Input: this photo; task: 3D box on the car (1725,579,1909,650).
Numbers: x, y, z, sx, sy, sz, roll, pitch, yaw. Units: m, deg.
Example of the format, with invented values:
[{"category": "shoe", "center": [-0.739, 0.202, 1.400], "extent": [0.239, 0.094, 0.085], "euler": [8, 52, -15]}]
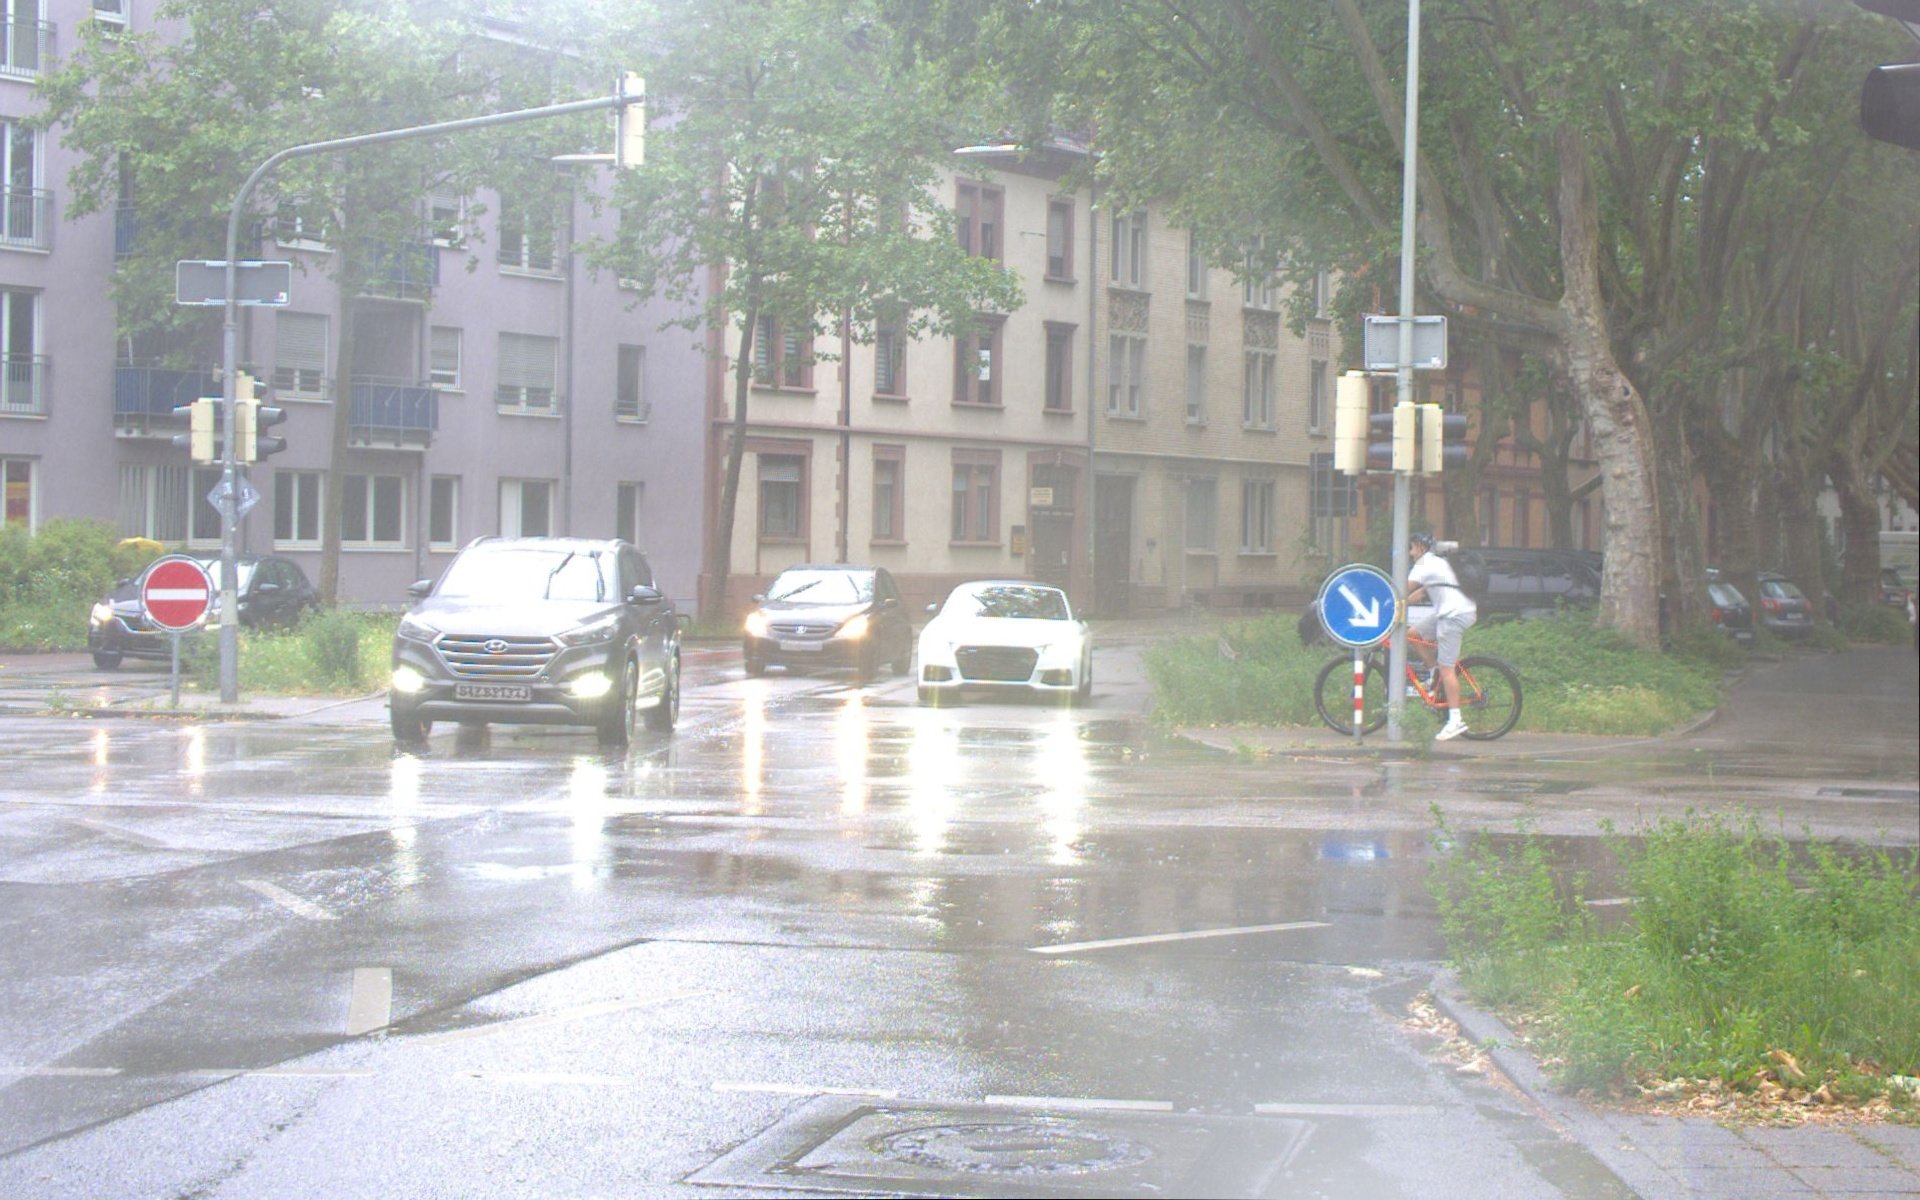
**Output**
[{"category": "car", "center": [19.568, 0.308, 78.656], "extent": [3.989, 1.542, 1.999], "euler": [1, 1, 12]}]

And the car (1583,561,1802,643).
[{"category": "car", "center": [13.934, 0.031, 65.458], "extent": [3.989, 1.481, 1.999], "euler": [1, 1, 12]}]

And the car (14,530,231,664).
[{"category": "car", "center": [-10.050, -0.074, 41.498], "extent": [1.751, 1.506, 3.839], "euler": [1, 1, -2]}]

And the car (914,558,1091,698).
[{"category": "car", "center": [0.515, 0.278, 39.133], "extent": [1.884, 1.431, 4.000], "euler": [1, 1, 1]}]

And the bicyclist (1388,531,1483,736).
[{"category": "bicyclist", "center": [4.194, 0.291, 30.364], "extent": [0.795, 1.780, 0.697], "euler": [1, 0, 8]}]

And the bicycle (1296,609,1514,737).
[{"category": "bicycle", "center": [3.930, 0.639, 30.400], "extent": [1.873, 1.077, 0.657], "euler": [1, 0, 8]}]

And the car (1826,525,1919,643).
[{"category": "car", "center": [24.388, -0.412, 87.718], "extent": [2.033, 2.938, 4.773], "euler": [1, 1, -21]}]

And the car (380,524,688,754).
[{"category": "car", "center": [-3.371, 0.240, 28.036], "extent": [1.803, 1.677, 4.603], "euler": [1, 1, 1]}]

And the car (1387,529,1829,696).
[{"category": "car", "center": [6.165, 0.097, 32.705], "extent": [3.989, 1.481, 1.999], "euler": [1, 1, 12]}]

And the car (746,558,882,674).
[{"category": "car", "center": [-1.910, 0.185, 45.922], "extent": [1.714, 1.454, 3.748], "euler": [1, 1, -1]}]

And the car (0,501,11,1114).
[{"category": "car", "center": [-3.291, 0.560, 6.773], "extent": [1.751, 1.586, 4.235], "euler": [1, 1, -2]}]

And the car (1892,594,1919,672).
[{"category": "car", "center": [19.324, 0.643, 67.413], "extent": [1.683, 1.469, 3.659], "euler": [1, 1, 20]}]
